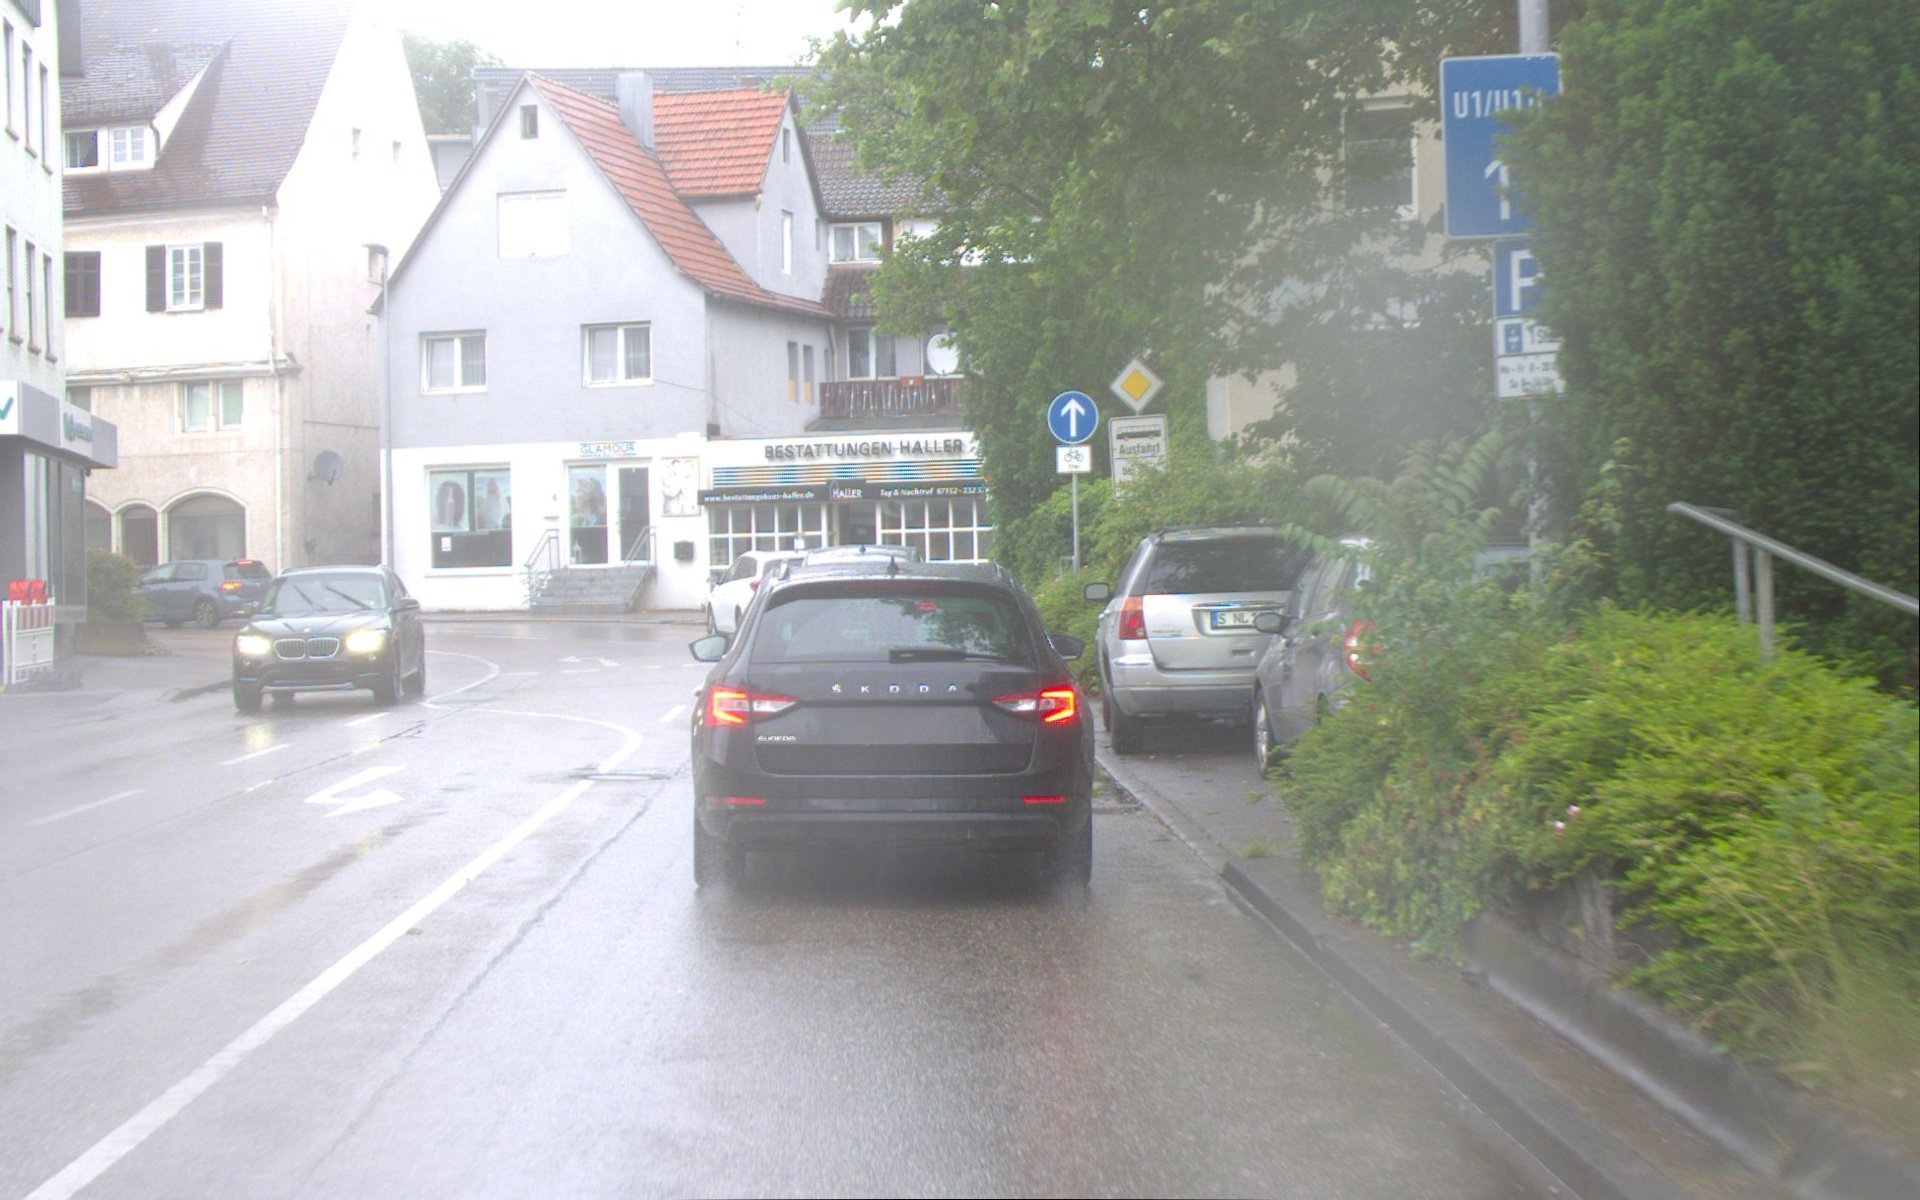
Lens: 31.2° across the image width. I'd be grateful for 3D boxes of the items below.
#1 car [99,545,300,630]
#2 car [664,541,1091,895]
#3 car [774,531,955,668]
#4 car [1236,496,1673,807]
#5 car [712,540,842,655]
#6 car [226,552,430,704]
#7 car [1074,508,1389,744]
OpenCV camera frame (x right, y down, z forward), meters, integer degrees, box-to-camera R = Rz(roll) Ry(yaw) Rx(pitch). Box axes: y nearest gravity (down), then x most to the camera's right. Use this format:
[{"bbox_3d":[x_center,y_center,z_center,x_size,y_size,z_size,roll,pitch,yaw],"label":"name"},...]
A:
[{"bbox_3d":[-15.856,-0.260,71.688,3.681,1.585,1.896,-3,-1,28],"label":"car"},{"bbox_3d":[-0.322,0.485,16.511,1.782,1.478,4.246,0,0,1],"label":"car"},{"bbox_3d":[-1.068,-0.009,37.149,1.817,1.355,3.990,-1,0,-3],"label":"car"},{"bbox_3d":[2.879,0.272,20.767,1.852,1.635,3.539,-2,0,-4],"label":"car"},{"bbox_3d":[-2.760,-0.004,52.628,1.728,1.585,4.183,0,-3,1],"label":"car"},{"bbox_3d":[-7.031,0.308,38.581,1.659,1.565,4.000,-2,0,-2],"label":"car"},{"bbox_3d":[2.035,0.177,26.886,1.852,1.635,3.871,-2,0,-4],"label":"car"}]
